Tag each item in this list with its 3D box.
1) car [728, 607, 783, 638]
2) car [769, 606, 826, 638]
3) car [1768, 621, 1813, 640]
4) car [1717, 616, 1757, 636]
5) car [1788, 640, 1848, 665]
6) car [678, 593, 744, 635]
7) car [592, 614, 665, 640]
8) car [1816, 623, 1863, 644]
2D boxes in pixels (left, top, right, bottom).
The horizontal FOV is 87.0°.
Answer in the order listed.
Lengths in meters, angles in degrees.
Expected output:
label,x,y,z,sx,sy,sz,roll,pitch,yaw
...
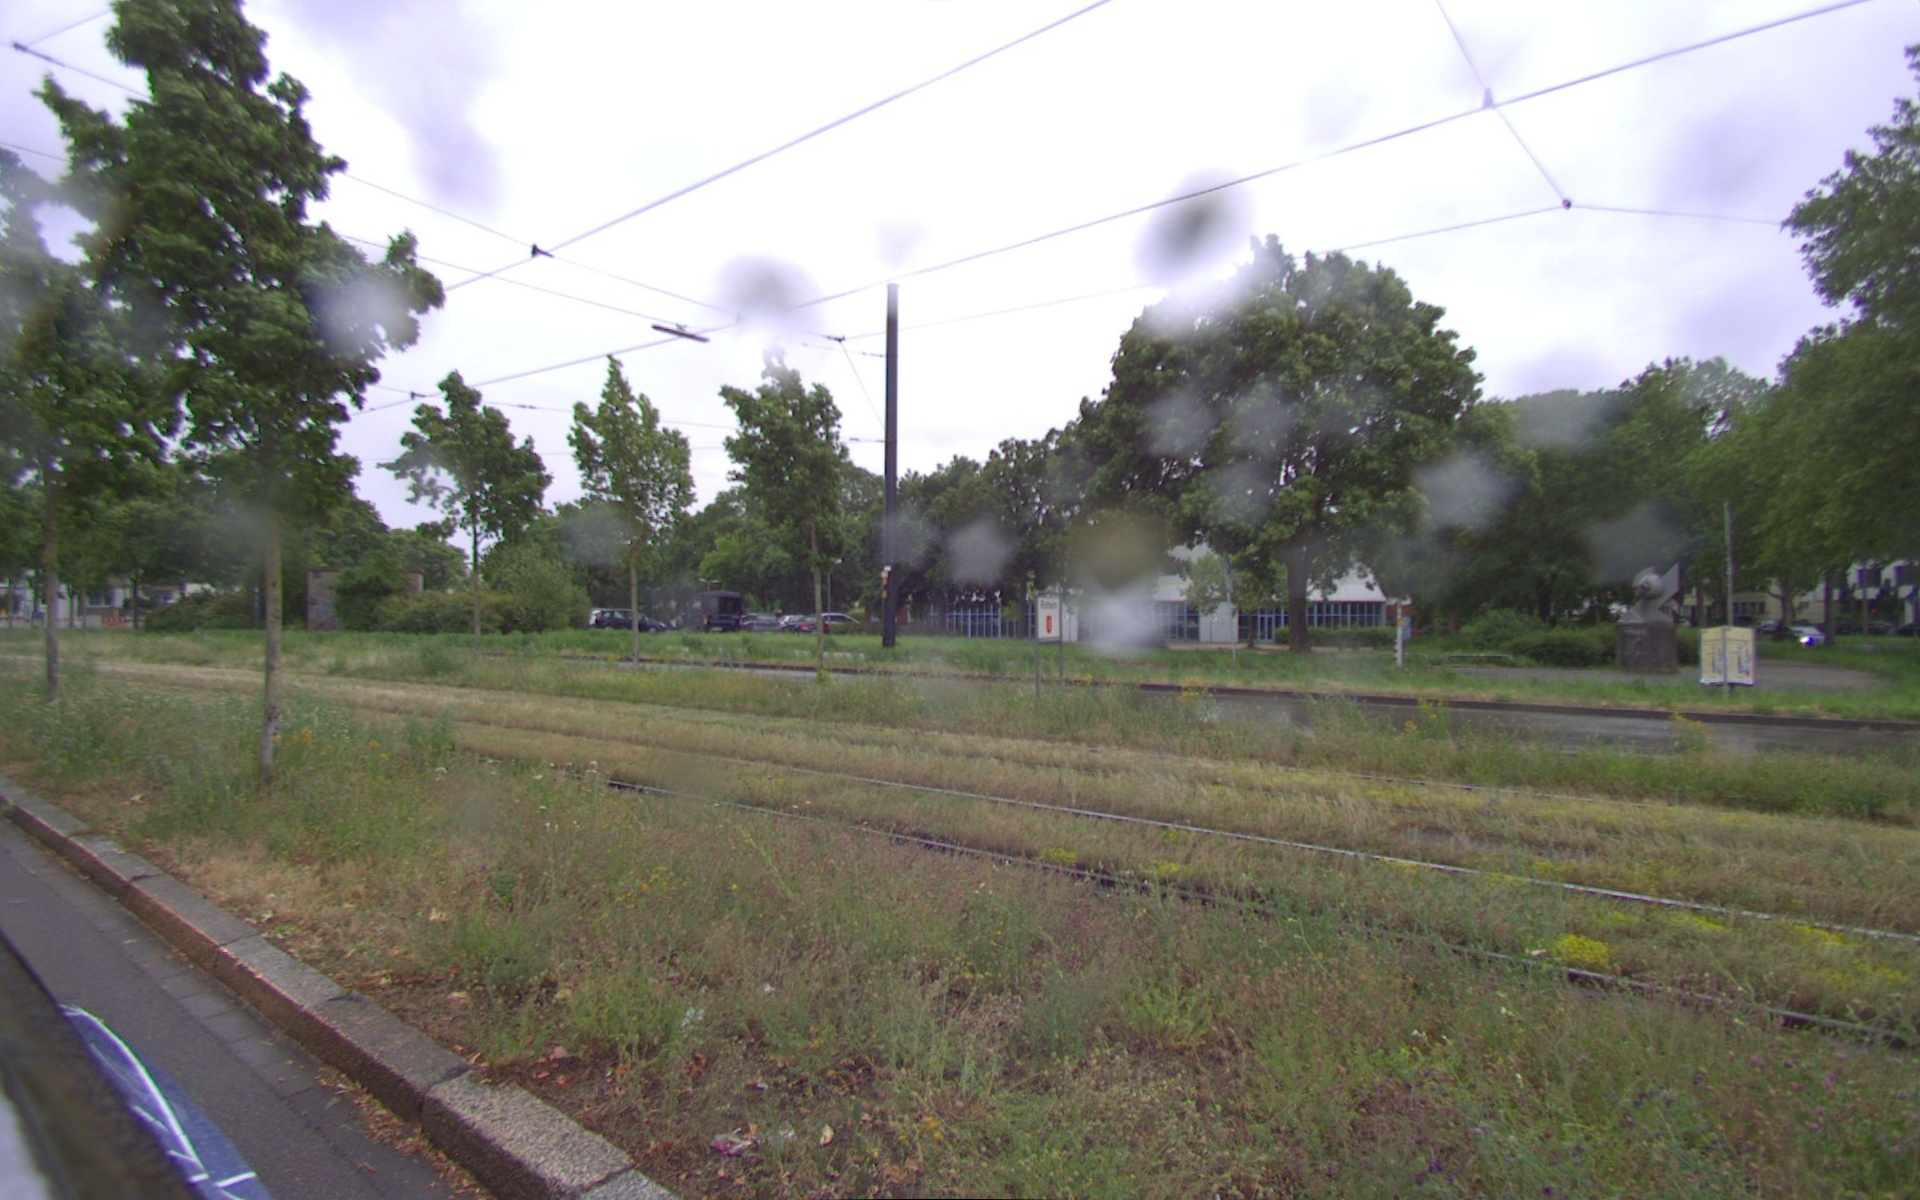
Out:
label,x,y,z,sx,sy,sz,roll,pitch,yaw
car,-10.904,1.147,53.704,1.726,1.542,4.865,-1,0,-25
car,-8.781,1.147,54.391,2.026,1.584,5.032,-1,0,-21
car,82.988,3.018,101.150,1.982,1.796,3.979,-1,0,16
car,86.355,2.825,112.521,2.108,2.104,3.982,-1,0,14
car,51.369,3.137,60.664,1.797,1.417,4.416,-1,-3,28
car,-12.822,0.699,51.931,2.273,2.029,5.134,-1,0,-25
car,-20.262,1.640,61.887,4.110,1.494,1.789,-1,0,-23
car,81.668,3.097,94.052,1.986,1.796,3.972,-1,0,21
